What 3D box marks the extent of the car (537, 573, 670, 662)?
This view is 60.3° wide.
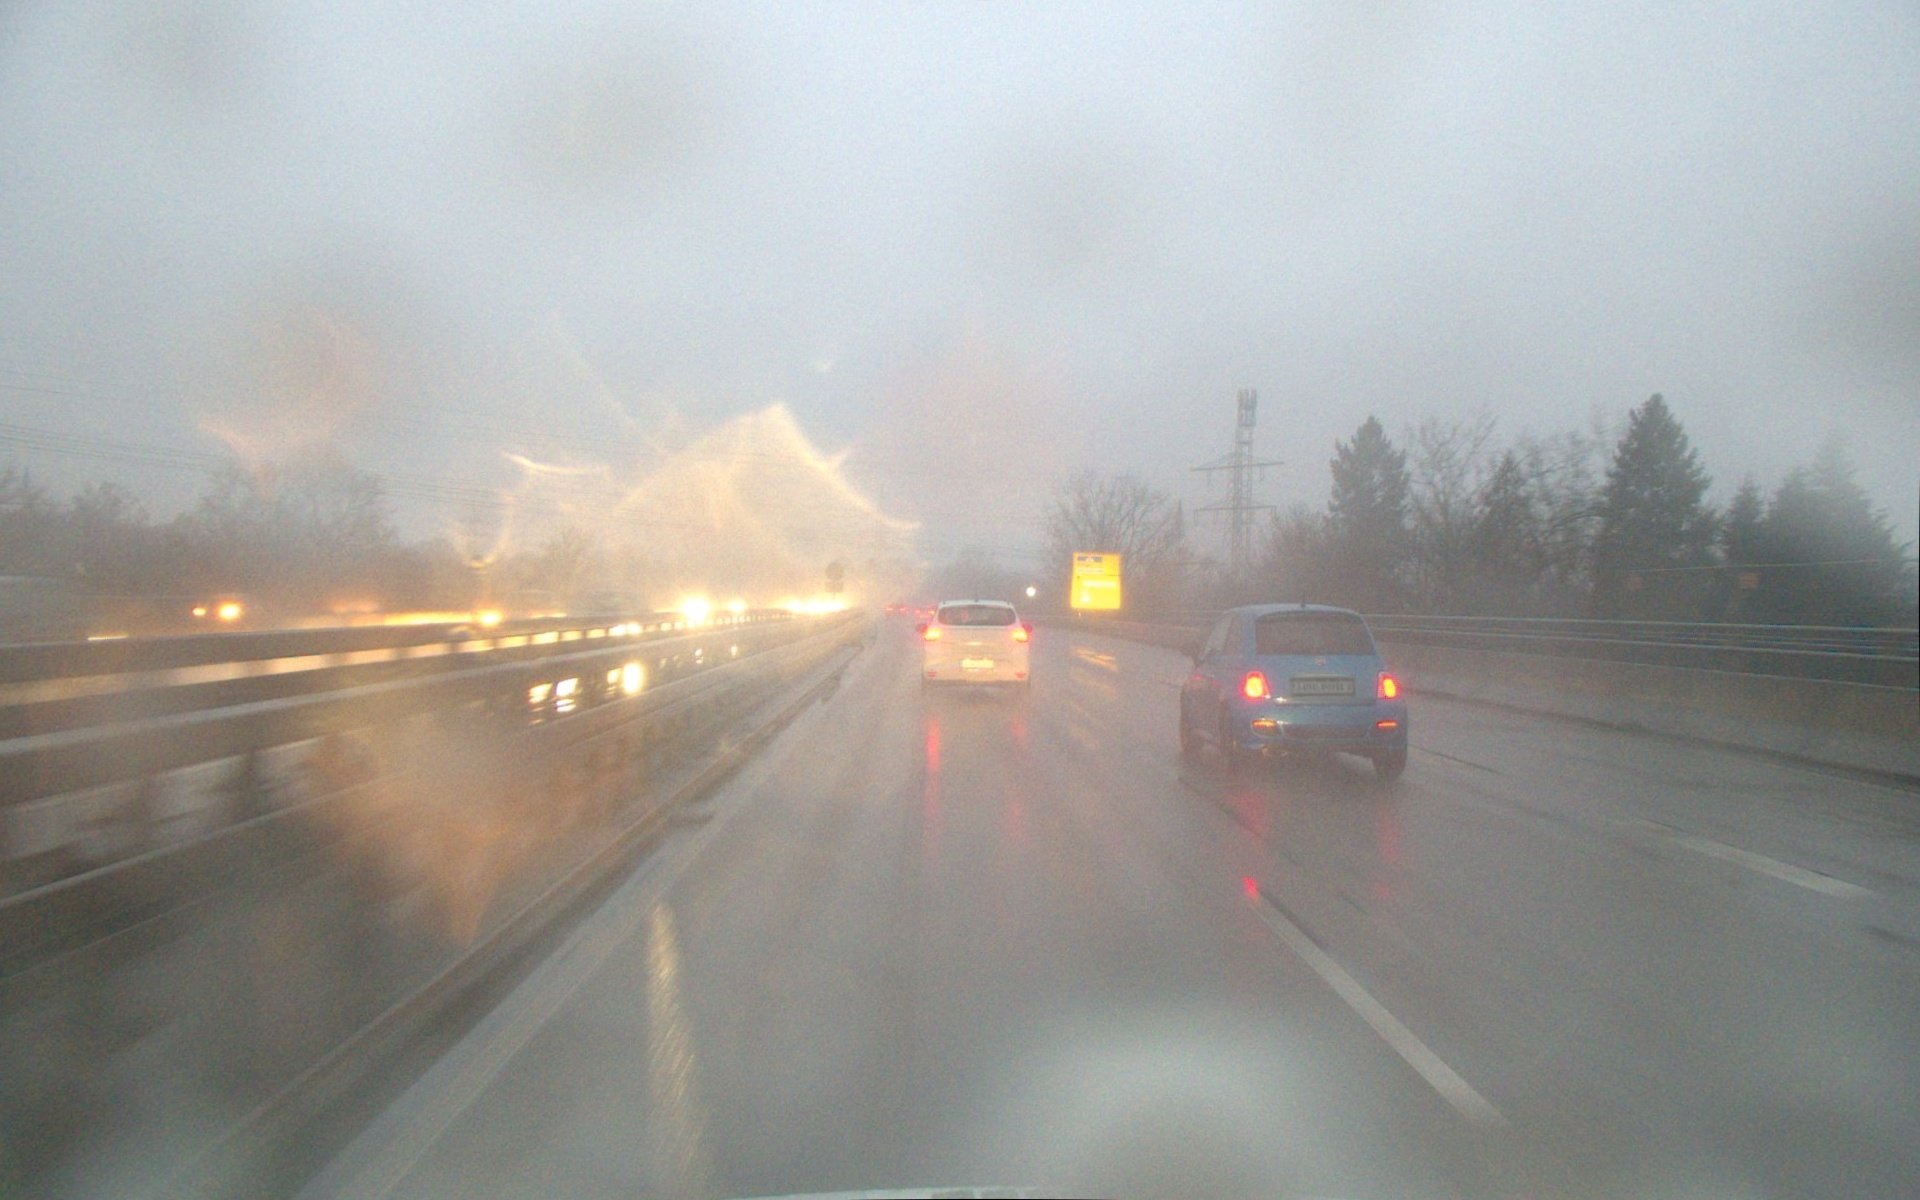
[{"bbox_3d":[-7.544,0.345,35.396,1.953,1.758,4.000,1,0,0],"label":"car"}]

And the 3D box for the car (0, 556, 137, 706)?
[{"bbox_3d":[-10.864,0.304,17.740,1.928,1.550,4.199,1,0,0],"label":"car"}]

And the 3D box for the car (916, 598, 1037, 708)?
[{"bbox_3d":[0.205,0.832,27.316,1.808,1.664,3.766,1,-1,-2],"label":"car"}]

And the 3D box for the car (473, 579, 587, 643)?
[{"bbox_3d":[-11.701,0.274,45.315,1.953,1.624,4.655,1,0,-1],"label":"car"}]

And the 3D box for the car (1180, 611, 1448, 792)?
[{"bbox_3d":[3.370,0.904,16.531,1.808,1.479,4.149,0,1,0],"label":"car"}]

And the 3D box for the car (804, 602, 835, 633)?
[{"bbox_3d":[-10.369,1.269,122.617,1.953,2.173,5.198,0,1,-1],"label":"car"}]
